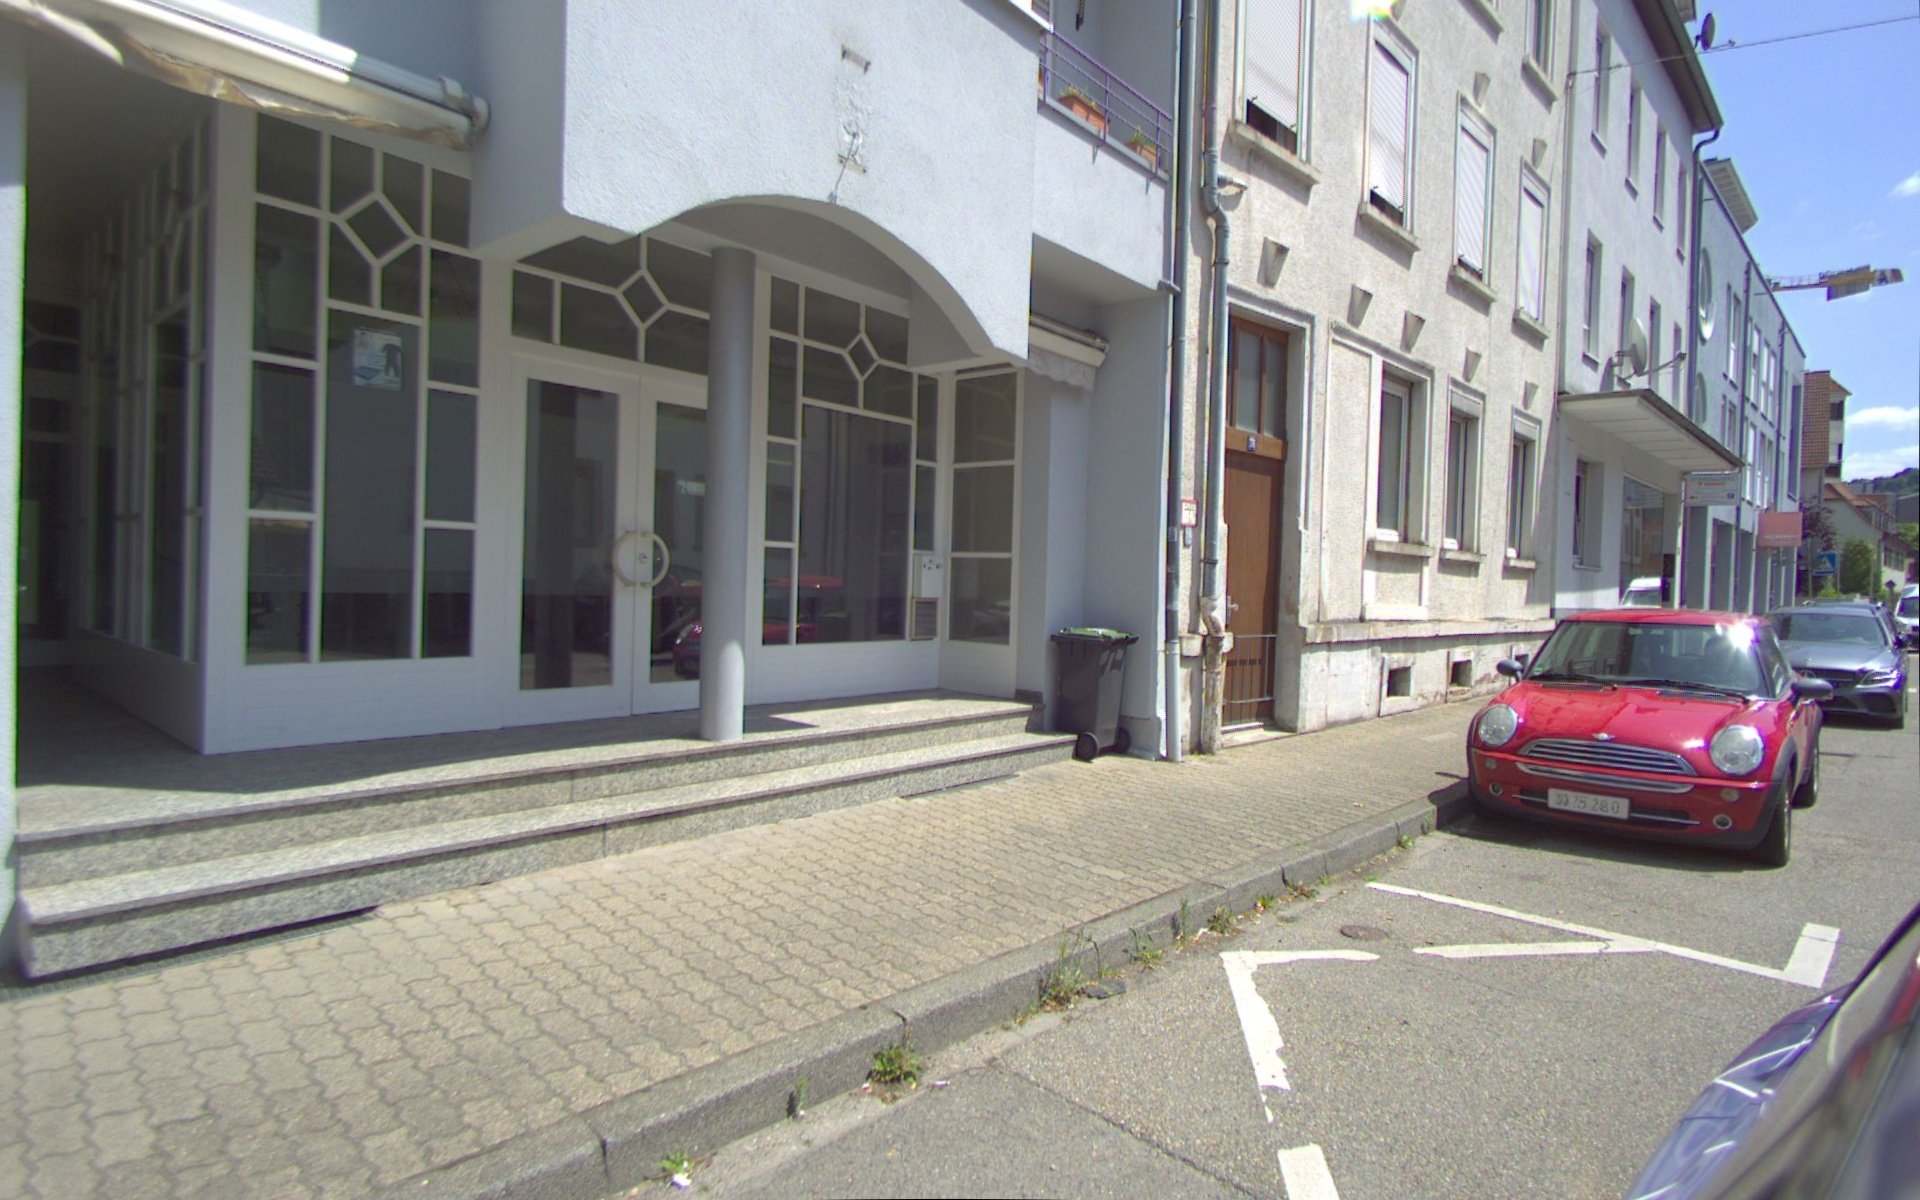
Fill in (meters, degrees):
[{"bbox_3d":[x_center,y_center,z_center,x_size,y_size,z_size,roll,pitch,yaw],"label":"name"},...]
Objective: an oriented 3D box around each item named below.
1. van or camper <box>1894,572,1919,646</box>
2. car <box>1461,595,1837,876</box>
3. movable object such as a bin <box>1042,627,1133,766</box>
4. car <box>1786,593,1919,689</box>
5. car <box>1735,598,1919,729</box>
[{"bbox_3d":[32.253,0.324,33.298,5.060,2.316,1.995,1,1,-45],"label":"van or camper"},{"bbox_3d":[4.897,0.691,7.001,1.619,1.403,3.483,2,1,43],"label":"car"},{"bbox_3d":[0.950,0.698,7.528,0.472,0.946,0.481,3,2,38],"label":"movable object such as a bin"},{"bbox_3d":[16.449,0.662,18.477,1.711,1.527,3.935,2,1,45],"label":"car"},{"bbox_3d":[11.885,0.719,13.727,1.729,1.438,4.474,2,1,43],"label":"car"}]
